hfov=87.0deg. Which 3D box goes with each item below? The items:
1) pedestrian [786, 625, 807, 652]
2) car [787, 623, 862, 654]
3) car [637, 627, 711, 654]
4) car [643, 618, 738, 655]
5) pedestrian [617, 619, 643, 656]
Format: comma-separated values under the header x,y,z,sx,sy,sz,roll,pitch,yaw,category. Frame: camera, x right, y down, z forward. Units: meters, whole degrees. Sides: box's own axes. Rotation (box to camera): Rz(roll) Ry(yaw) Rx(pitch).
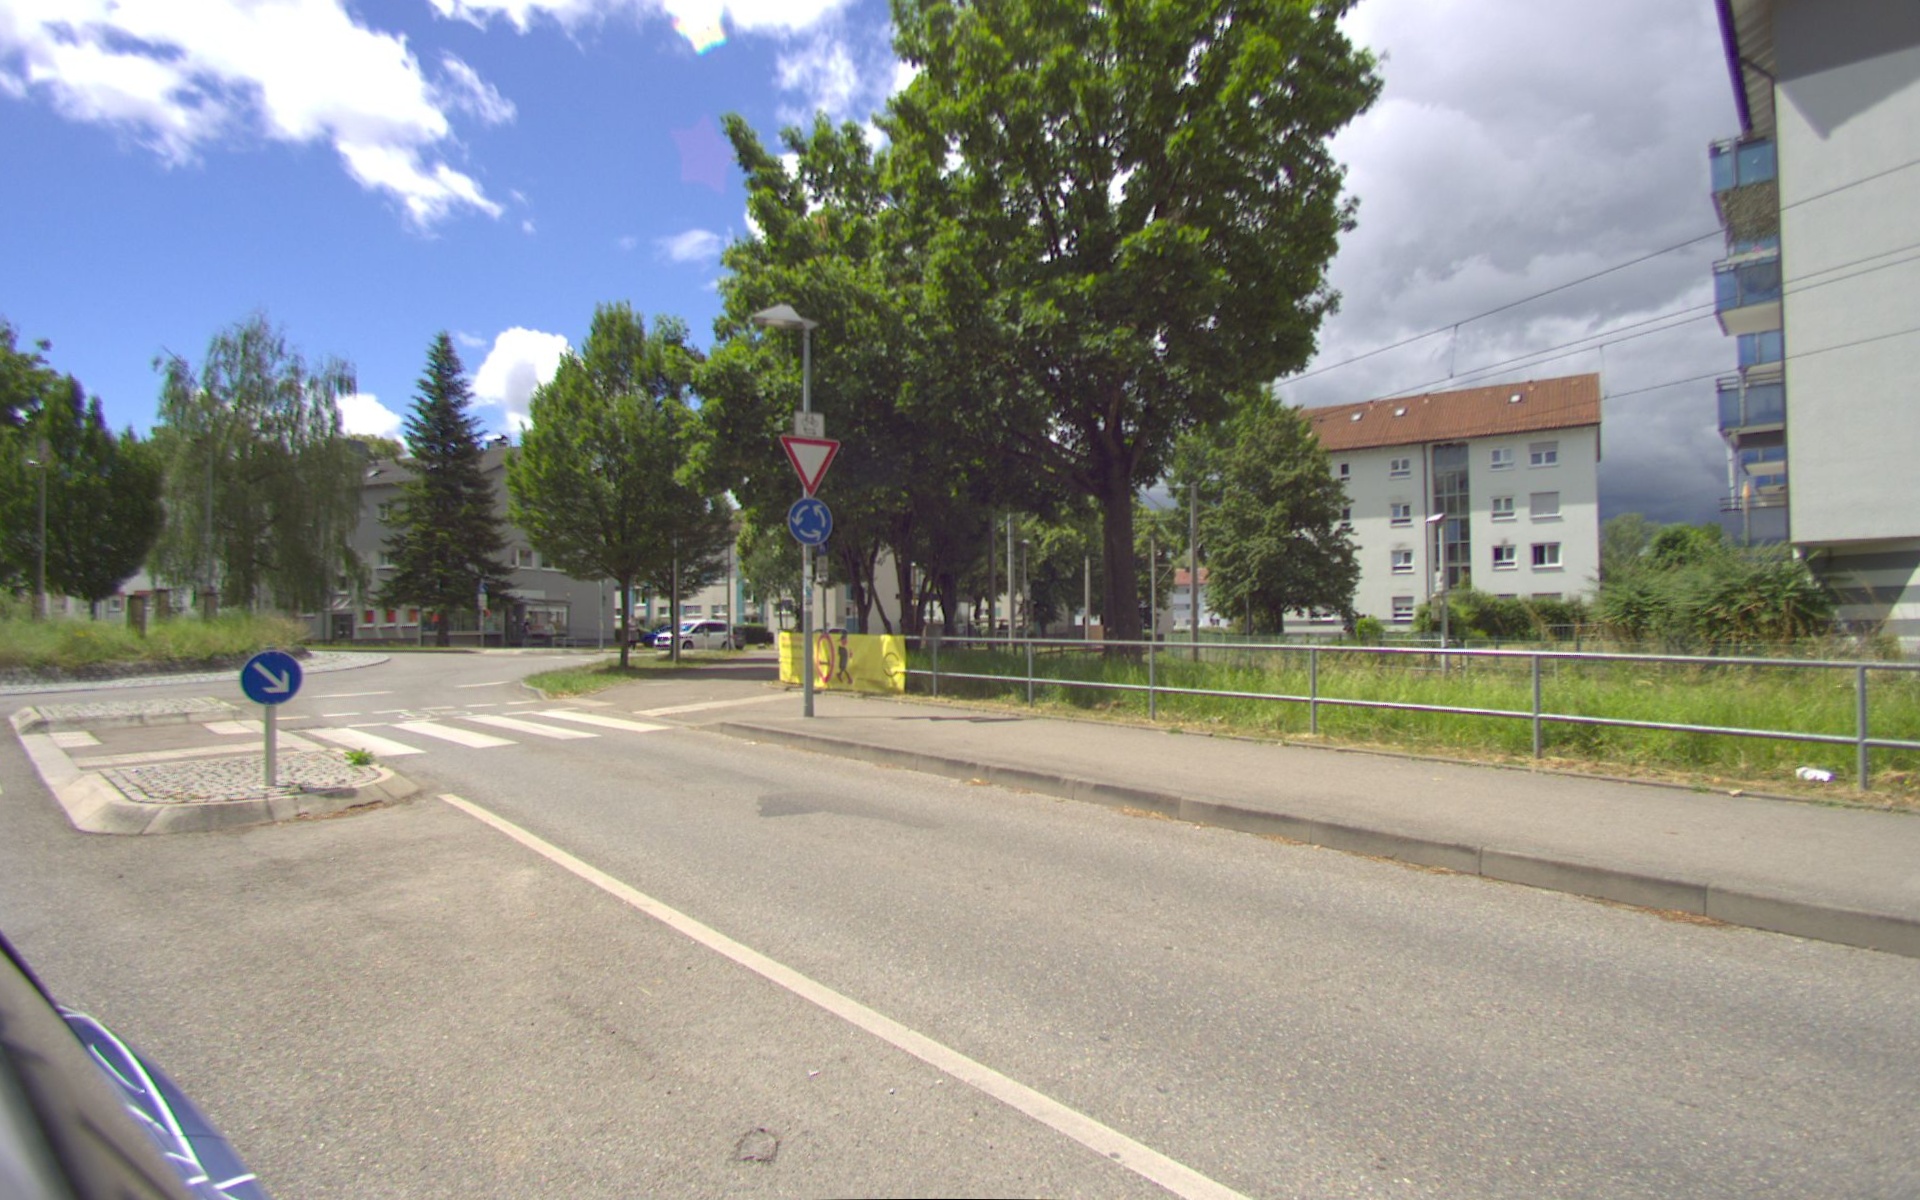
x,y,z,sx,sy,sz,roll,pitch,yaw,category
-10.342,2.452,64.072,0.874,1.677,1.009,-1,-2,38,pedestrian
-8.222,2.305,61.798,1.995,1.810,4.565,-1,-2,34,car
-17.325,2.437,61.282,4.097,1.535,1.795,0,-2,23,car
-13.881,1.862,52.306,1.995,1.810,4.565,-1,-2,34,car
-14.879,1.685,45.584,0.861,1.677,1.025,1,-2,-32,pedestrian
